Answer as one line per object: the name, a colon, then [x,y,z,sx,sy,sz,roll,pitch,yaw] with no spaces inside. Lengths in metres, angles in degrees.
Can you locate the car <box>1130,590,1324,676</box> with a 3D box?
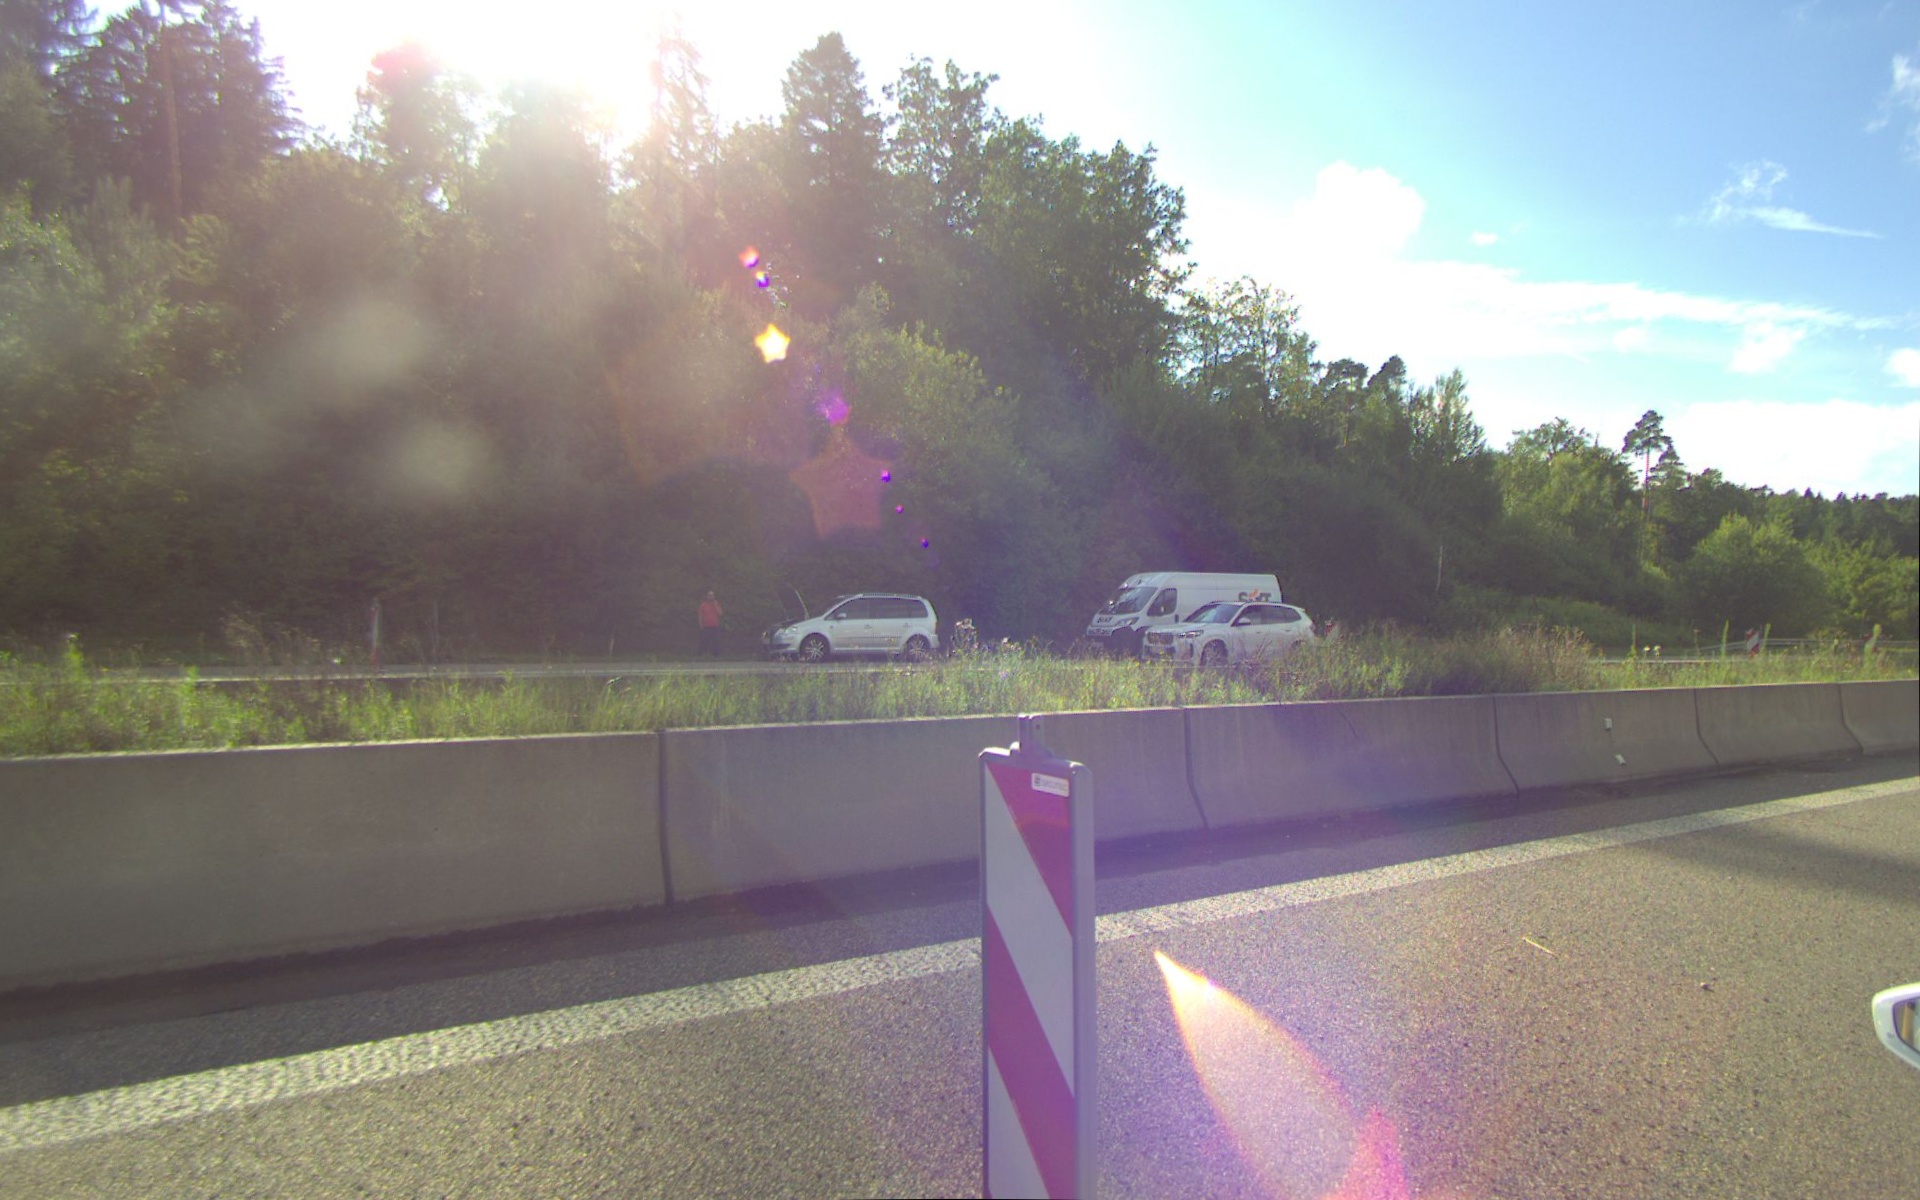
car: [6.144,0.758,22.993,4.314,1.809,1.769,2,0,-31]

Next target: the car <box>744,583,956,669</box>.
car: [-2.597,0.633,24.067,4.706,1.878,1.851,2,0,-31]

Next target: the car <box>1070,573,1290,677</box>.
car: [6.366,0.734,28.720,6.447,2.720,2.018,2,0,-31]
